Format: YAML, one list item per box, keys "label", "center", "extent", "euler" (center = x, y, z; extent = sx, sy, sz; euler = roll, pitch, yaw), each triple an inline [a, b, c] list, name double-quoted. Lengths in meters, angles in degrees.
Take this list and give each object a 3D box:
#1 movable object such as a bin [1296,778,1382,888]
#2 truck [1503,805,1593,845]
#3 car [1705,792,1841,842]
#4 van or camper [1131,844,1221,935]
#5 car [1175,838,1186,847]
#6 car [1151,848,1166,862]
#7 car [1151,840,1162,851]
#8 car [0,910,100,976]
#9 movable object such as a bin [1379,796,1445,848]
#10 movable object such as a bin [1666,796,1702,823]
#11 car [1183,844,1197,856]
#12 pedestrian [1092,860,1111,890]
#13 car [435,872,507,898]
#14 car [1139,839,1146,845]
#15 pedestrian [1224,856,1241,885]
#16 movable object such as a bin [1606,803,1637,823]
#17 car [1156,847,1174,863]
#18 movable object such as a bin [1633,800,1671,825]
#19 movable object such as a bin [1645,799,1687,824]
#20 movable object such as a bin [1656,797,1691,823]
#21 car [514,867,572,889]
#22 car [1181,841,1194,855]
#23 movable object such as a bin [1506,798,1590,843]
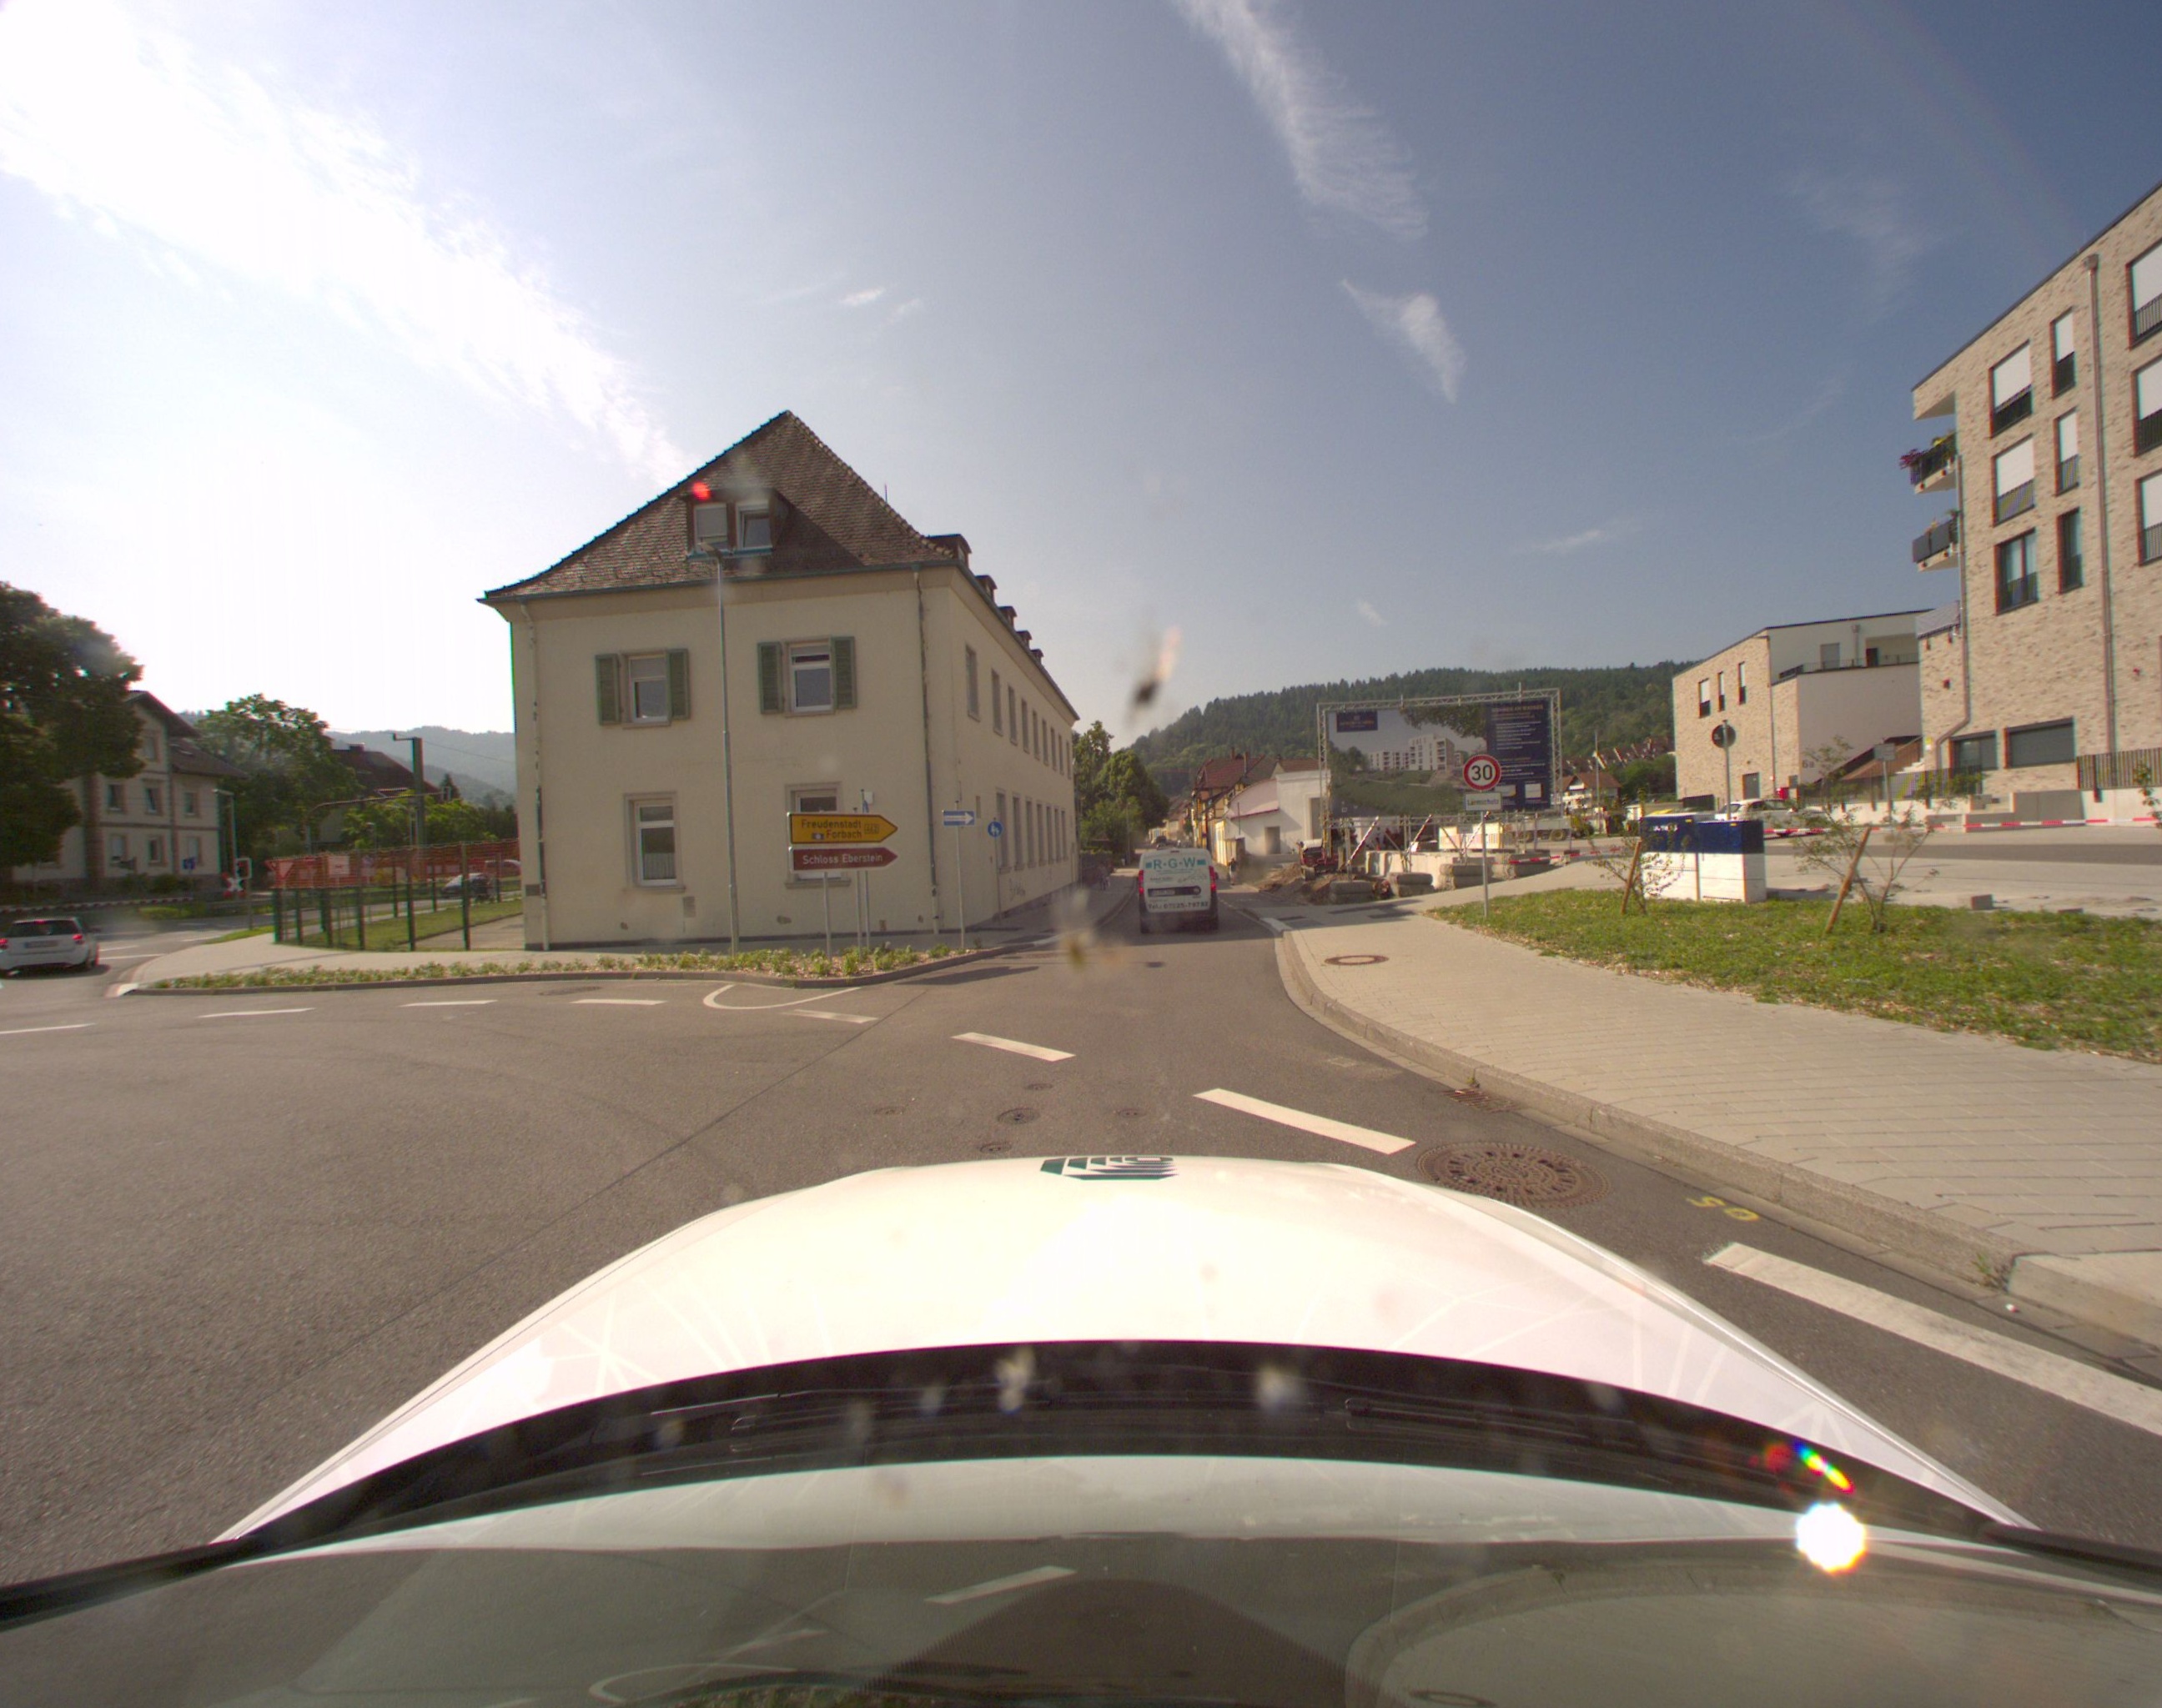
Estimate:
- label: "movable object such as a bin"
  center: [10.125, -0.759, 32.631]
  extent: [2.281, 3.854, 7.820]
  euler: [0, 0, 10]
- label: "truck"
  center: [32.544, -1.989, 56.828]
  extent: [5.263, 2.265, 2.233]
  euler: [-4, -1, 32]
- label: "car"
  center: [25.001, -1.303, 29.525]
  extent: [3.388, 1.495, 1.596]
  euler: [-4, -1, 5]
- label: "van or camper"
  center: [2.234, 0.804, 19.623]
  extent: [1.819, 1.844, 4.194]
  euler: [-4, -2, 5]
- label: "car"
  center: [17.480, -2.051, 143.139]
  extent: [1.662, 1.508, 4.005]
  euler: [-3, 1, 4]
- label: "car"
  center: [9.986, 0.102, 104.814]
  extent: [1.802, 1.596, 3.932]
  euler: [0, 1, 4]
- label: "car"
  center: [20.710, -2.328, 223.648]
  extent: [2.862, 2.835, 6.131]
  euler: [-3, 1, 4]
- label: "car"
  center: [-29.579, 2.487, 23.383]
  extent: [3.949, 1.397, 1.725]
  euler: [1, 2, 40]
- label: "movable object such as a bin"
  center: [24.335, -2.333, 59.697]
  extent: [2.822, 3.621, 5.772]
  euler: [1, 2, 40]
- label: "movable object such as a bin"
  center: [34.145, -2.505, 46.142]
  extent: [1.289, 1.464, 1.326]
  euler: [0, 1, 16]
- label: "car"
  center: [15.534, -0.549, 116.188]
  extent: [1.801, 1.596, 3.934]
  euler: [0, 1, 6]
- label: "pedestrian"
  center: [1.153, 1.170, 45.888]
  extent: [0.953, 1.631, 0.759]
  euler: [1, 0, 5]
- label: "car"
  center: [-39.329, 1.986, 52.627]
  extent: [1.705, 1.397, 3.997]
  euler: [0, 2, -2]
- label: "car"
  center: [16.922, -3.442, 224.974]
  extent: [1.803, 1.596, 3.931]
  euler: [0, 1, 4]
- label: "pedestrian"
  center: [8.764, 0.958, 47.032]
  extent: [0.884, 1.683, 0.719]
  euler: [-1, -1, 6]
- label: "movable object such as a bin"
  center: [34.773, -2.610, 52.427]
  extent: [1.286, 1.268, 1.326]
  euler: [0, 2, 16]
- label: "car"
  center: [9.189, 0.106, 89.356]
  extent: [1.802, 1.596, 3.932]
  euler: [0, 1, 4]
- label: "movable object such as a bin"
  center: [35.221, -2.551, 50.278]
  extent: [1.568, 1.464, 1.326]
  euler: [0, 1, 16]
- label: "movable object such as a bin"
  center: [35.065, -2.530, 48.856]
  extent: [1.680, 1.464, 1.326]
  euler: [0, 1, 16]
- label: "movable object such as a bin"
  center: [34.527, -2.546, 47.471]
  extent: [1.289, 1.464, 1.326]
  euler: [0, 1, 16]
- label: "car"
  center: [-39.954, 1.761, 60.598]
  extent: [1.705, 1.397, 3.997]
  euler: [0, 2, -2]
- label: "car"
  center: [16.588, -0.919, 126.659]
  extent: [1.862, 2.013, 4.006]
  euler: [-2, 1, 5]
- label: "movable object such as a bin"
  center: [30.846, -2.194, 53.842]
  extent: [4.567, 2.569, 1.937]
  euler: [-4, -1, 31]
